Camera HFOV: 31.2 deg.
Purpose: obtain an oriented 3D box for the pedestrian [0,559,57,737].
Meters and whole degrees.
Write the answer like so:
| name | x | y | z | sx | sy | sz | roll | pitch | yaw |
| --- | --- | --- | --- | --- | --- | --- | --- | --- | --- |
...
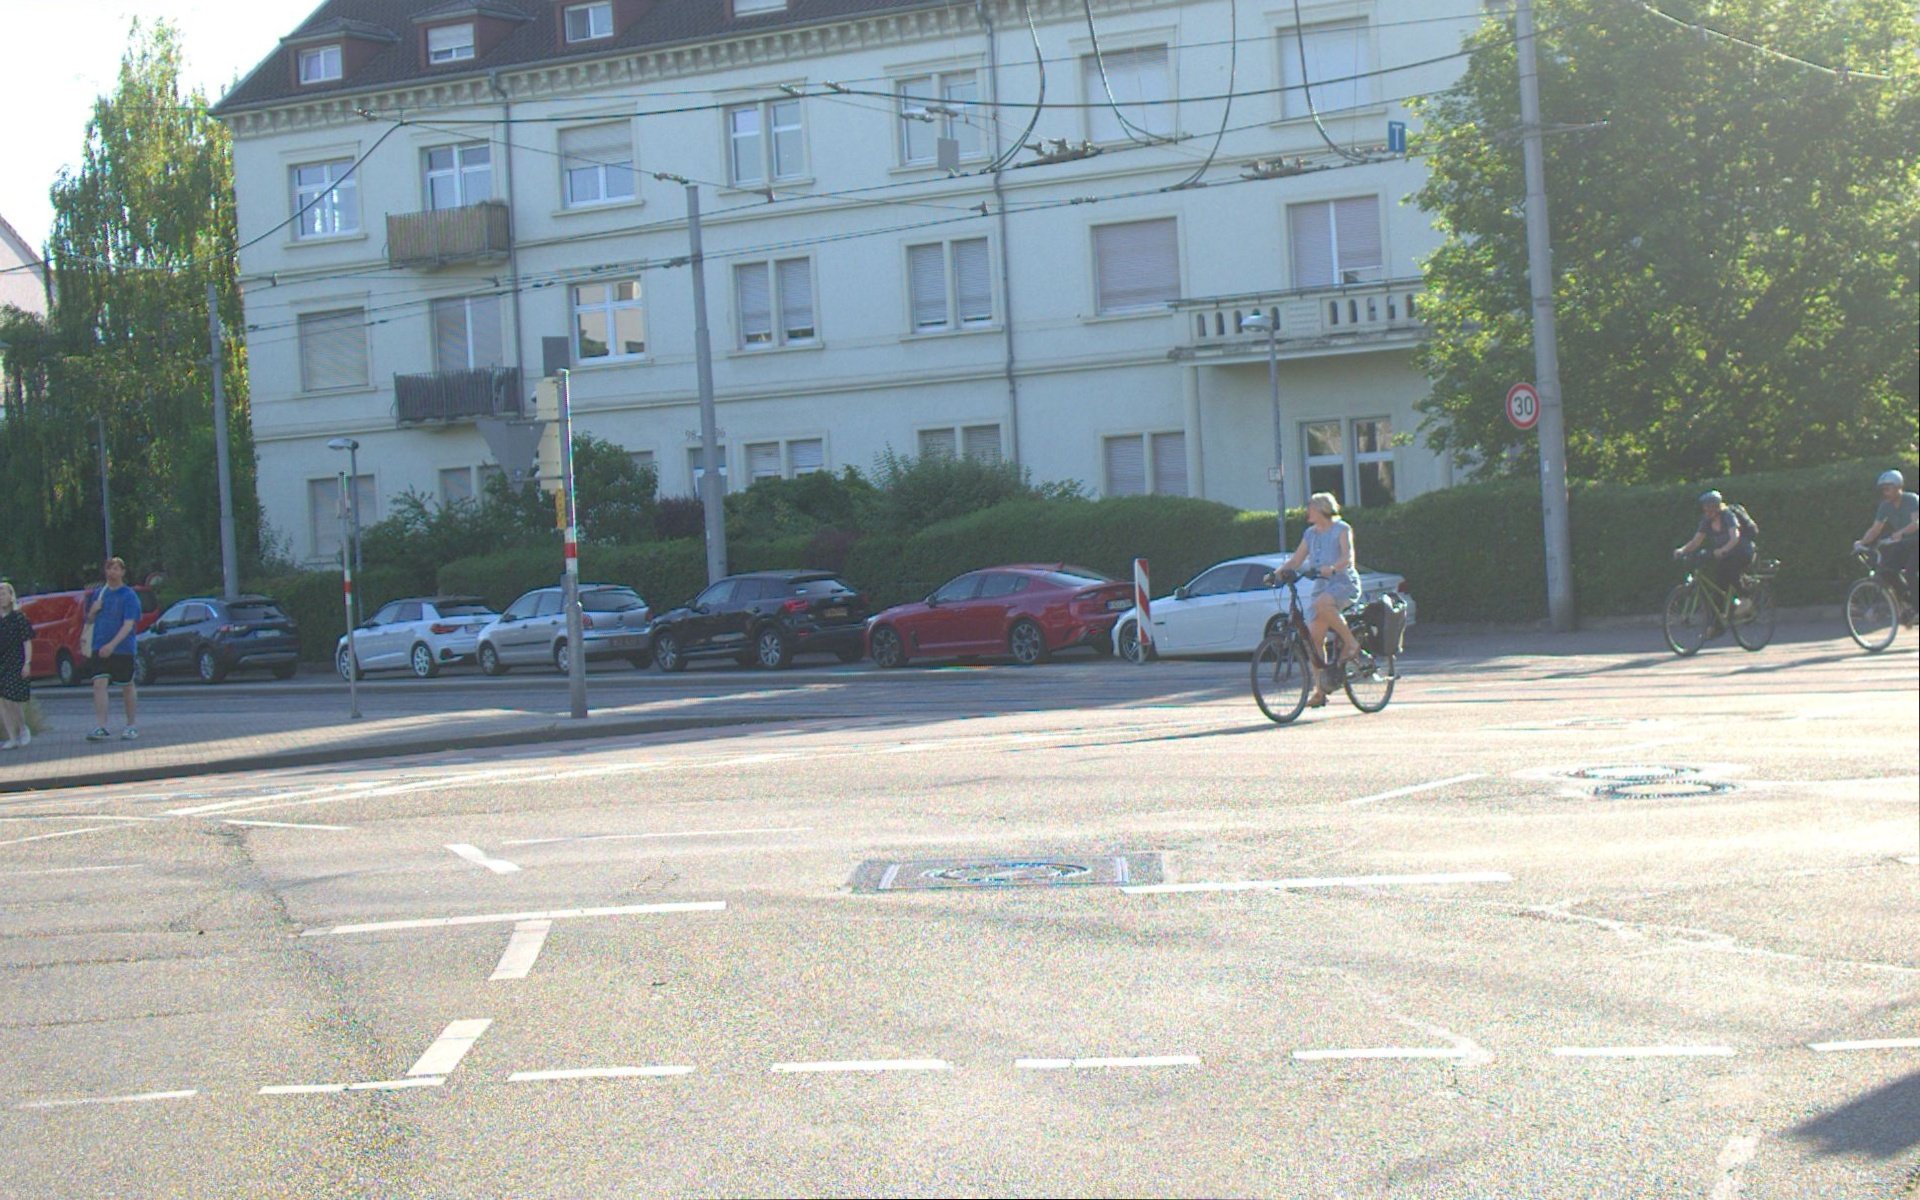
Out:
| name | x | y | z | sx | sy | sz | roll | pitch | yaw |
| --- | --- | --- | --- | --- | --- | --- | --- | --- | --- |
| pedestrian | -9.677 | 0.485 | 34.386 | 0.912 | 1.741 | 1.067 | -3 | 1 | 1 |

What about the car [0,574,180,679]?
| name | x | y | z | sx | sy | sz | roll | pitch | yaw |
| --- | --- | --- | --- | --- | --- | --- | --- | --- | --- |
| car | -18.647 | 0.575 | 72.258 | 2.051 | 1.955 | 5.148 | -7 | 3 | -41 |

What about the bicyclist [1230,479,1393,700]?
| name | x | y | z | sx | sy | sz | roll | pitch | yaw |
| --- | --- | --- | --- | --- | --- | --- | --- | --- | --- |
| bicyclist | 2.640 | -0.077 | 25.820 | 0.855 | 1.600 | 0.776 | -4 | 1 | -43 |

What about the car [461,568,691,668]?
| name | x | y | z | sx | sy | sz | roll | pitch | yaw |
| --- | --- | --- | --- | --- | --- | --- | --- | --- | --- |
| car | -6.496 | 0.319 | 57.886 | 1.982 | 1.442 | 3.717 | -7 | 3 | -41 |

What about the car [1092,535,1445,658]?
| name | x | y | z | sx | sy | sz | roll | pitch | yaw |
| --- | --- | --- | --- | --- | --- | --- | --- | --- | --- |
| car | 4.090 | -0.028 | 46.132 | 1.926 | 1.371 | 4.494 | -7 | 3 | -42 |

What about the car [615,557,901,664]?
| name | x | y | z | sx | sy | sz | roll | pitch | yaw |
| --- | --- | --- | --- | --- | --- | --- | --- | --- | --- |
| car | -3.261 | 0.185 | 54.639 | 1.982 | 1.442 | 4.703 | -7 | 3 | -41 |

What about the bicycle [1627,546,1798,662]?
| name | x | y | z | sx | sy | sz | roll | pitch | yaw |
| --- | --- | --- | --- | --- | --- | --- | --- | --- | --- |
| bicycle | 7.663 | 0.033 | 34.948 | 2.014 | 1.065 | 0.663 | -4 | 1 | -44 |

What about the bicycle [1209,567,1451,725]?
| name | x | y | z | sx | sy | sz | roll | pitch | yaw |
| --- | --- | --- | --- | --- | --- | --- | --- | --- | --- |
| bicycle | 2.796 | 0.333 | 25.831 | 0.663 | 1.065 | 2.014 | -2 | 1 | 44 |

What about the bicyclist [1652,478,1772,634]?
| name | x | y | z | sx | sy | sz | roll | pitch | yaw |
| --- | --- | --- | --- | --- | --- | --- | --- | --- | --- |
| bicyclist | 7.651 | -0.449 | 34.958 | 1.035 | 1.526 | 0.660 | -4 | 1 | -45 |

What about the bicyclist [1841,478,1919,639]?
| name | x | y | z | sx | sy | sz | roll | pitch | yaw |
| --- | --- | --- | --- | --- | --- | --- | --- | --- | --- |
| bicyclist | 9.252 | -0.413 | 33.554 | 1.034 | 1.526 | 0.698 | -4 | 1 | -36 |

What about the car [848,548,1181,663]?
| name | x | y | z | sx | sy | sz | roll | pitch | yaw |
| --- | --- | --- | --- | --- | --- | --- | --- | --- | --- |
| car | 0.750 | 0.098 | 50.129 | 4.702 | 1.371 | 1.982 | -2 | 3 | 44 |

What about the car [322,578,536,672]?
| name | x | y | z | sx | sy | sz | roll | pitch | yaw |
| --- | --- | --- | --- | --- | --- | --- | --- | --- | --- |
| car | -9.509 | 0.462 | 61.380 | 1.840 | 1.442 | 3.957 | -7 | 3 | -41 |

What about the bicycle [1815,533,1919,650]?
| name | x | y | z | sx | sy | sz | roll | pitch | yaw |
| --- | --- | --- | --- | --- | --- | --- | --- | --- | --- |
| bicycle | 9.325 | -0.109 | 33.616 | 2.013 | 1.065 | 0.663 | -4 | 1 | -35 |

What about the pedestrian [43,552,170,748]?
| name | x | y | z | sx | sy | sz | roll | pitch | yaw |
| --- | --- | --- | --- | --- | --- | --- | --- | --- | --- |
| pedestrian | -8.680 | 0.492 | 35.000 | 0.912 | 1.918 | 1.067 | -3 | 1 | 1 |

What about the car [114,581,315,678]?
| name | x | y | z | sx | sy | sz | roll | pitch | yaw |
| --- | --- | --- | --- | --- | --- | --- | --- | --- | --- |
| car | -14.611 | 0.594 | 67.217 | 1.840 | 1.662 | 4.368 | -7 | 3 | -41 |
